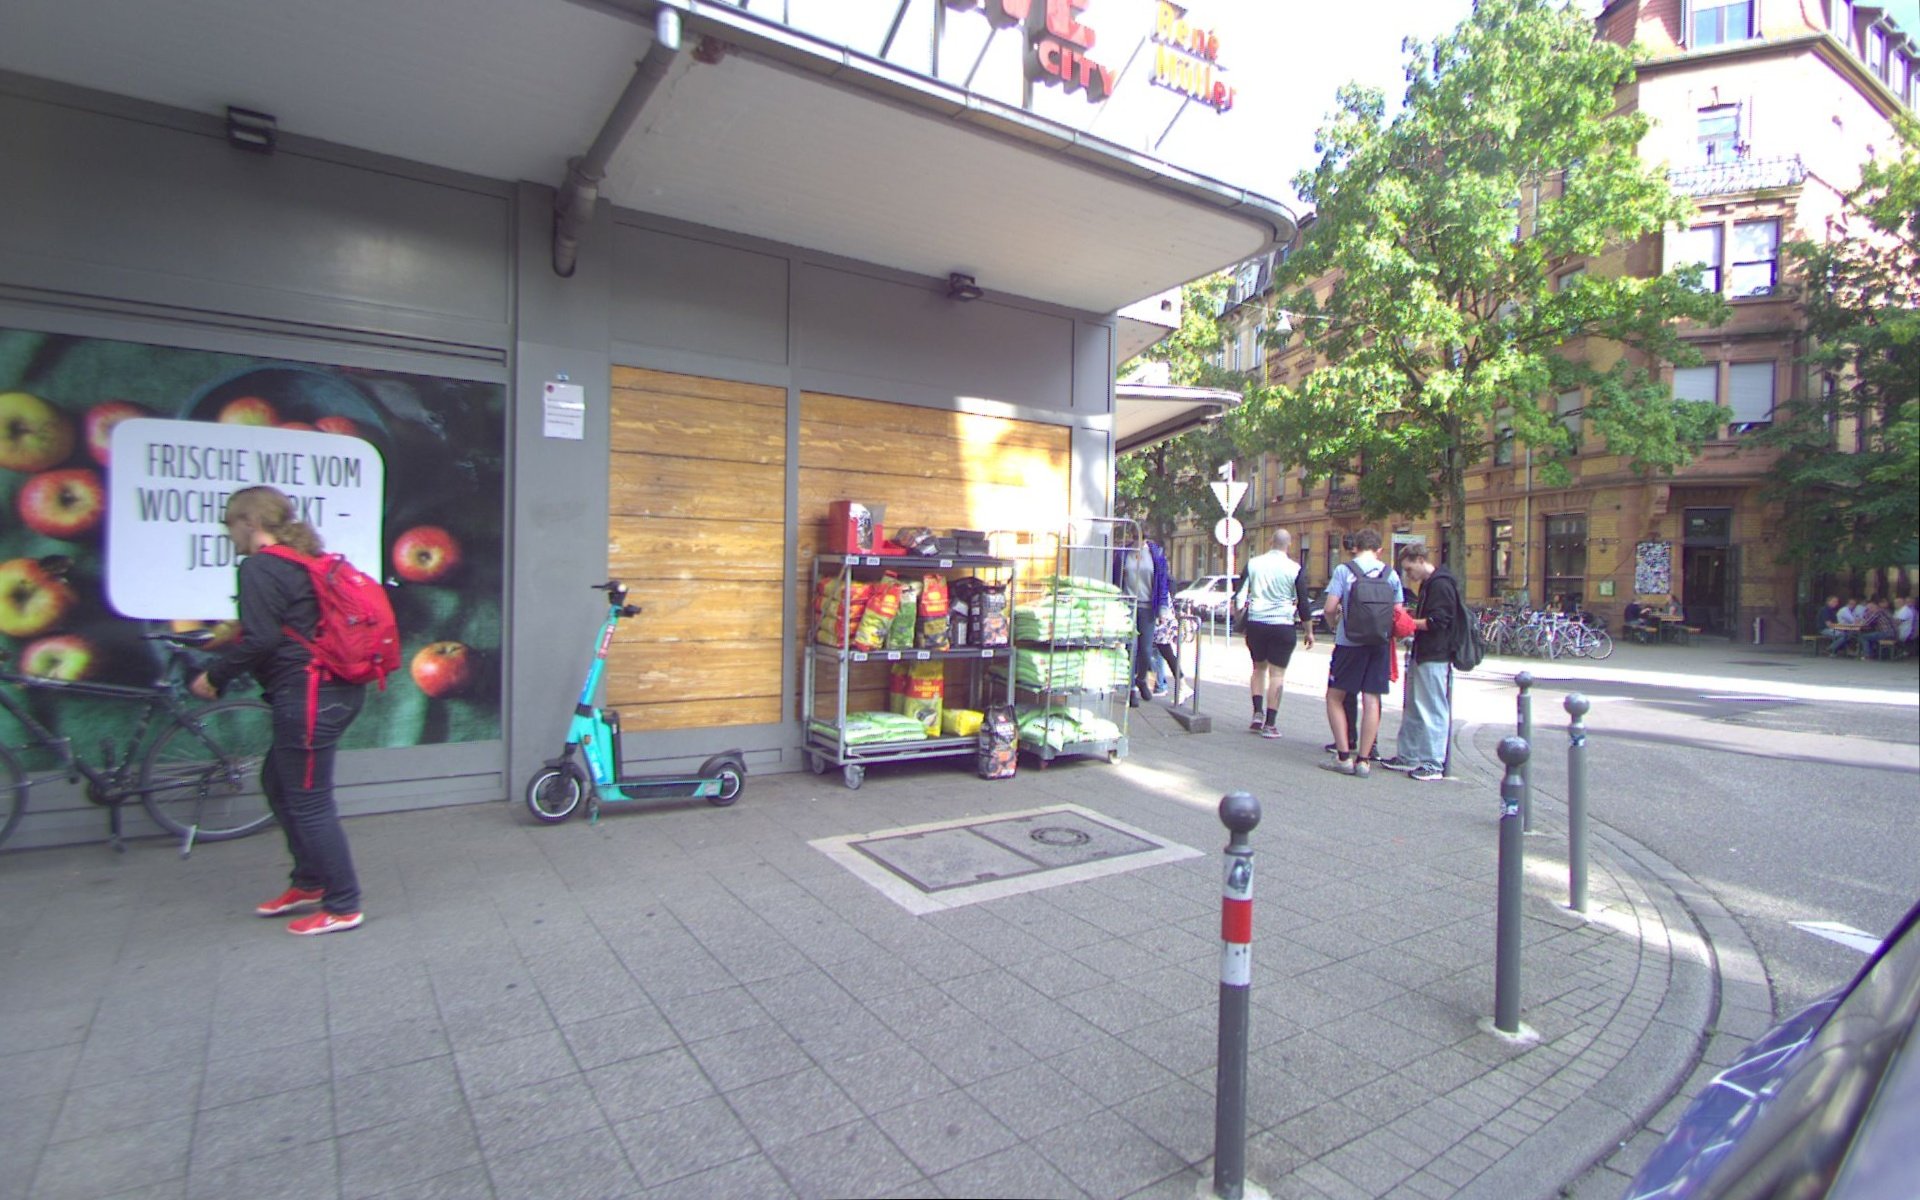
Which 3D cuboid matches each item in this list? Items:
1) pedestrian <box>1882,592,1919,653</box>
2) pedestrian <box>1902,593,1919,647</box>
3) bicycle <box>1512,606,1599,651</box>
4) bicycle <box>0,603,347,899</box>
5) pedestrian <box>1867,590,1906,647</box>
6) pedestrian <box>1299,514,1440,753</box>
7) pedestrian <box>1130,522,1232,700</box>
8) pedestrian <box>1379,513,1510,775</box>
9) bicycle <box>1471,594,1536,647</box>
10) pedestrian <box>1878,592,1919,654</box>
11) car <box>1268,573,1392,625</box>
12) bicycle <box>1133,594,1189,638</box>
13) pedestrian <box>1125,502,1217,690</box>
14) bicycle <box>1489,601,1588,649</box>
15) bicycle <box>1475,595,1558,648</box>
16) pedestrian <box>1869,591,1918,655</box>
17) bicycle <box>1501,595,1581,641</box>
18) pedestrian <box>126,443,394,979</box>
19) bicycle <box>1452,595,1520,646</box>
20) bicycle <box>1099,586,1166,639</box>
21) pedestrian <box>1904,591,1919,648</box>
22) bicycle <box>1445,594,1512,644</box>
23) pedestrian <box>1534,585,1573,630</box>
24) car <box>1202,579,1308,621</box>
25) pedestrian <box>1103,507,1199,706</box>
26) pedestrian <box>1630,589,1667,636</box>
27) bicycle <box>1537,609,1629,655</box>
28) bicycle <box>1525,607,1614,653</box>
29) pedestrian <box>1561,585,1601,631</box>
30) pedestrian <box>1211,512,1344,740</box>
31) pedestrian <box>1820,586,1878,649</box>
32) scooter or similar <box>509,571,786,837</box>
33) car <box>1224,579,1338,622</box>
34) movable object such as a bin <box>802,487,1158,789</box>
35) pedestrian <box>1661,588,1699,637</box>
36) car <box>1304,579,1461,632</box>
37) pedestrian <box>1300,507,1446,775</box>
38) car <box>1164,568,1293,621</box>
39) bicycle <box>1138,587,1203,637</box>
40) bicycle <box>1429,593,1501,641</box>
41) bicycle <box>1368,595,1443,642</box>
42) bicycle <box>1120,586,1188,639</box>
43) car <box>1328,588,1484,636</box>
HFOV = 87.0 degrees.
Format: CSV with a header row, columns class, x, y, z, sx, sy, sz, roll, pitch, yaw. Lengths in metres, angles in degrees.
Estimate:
class,x,y,z,sx,sy,sz,roll,pitch,yaw
pedestrian,21.326,0.503,22.839,0.727,1.331,0.598,2,1,45
pedestrian,22.604,0.472,23.777,0.544,1.247,0.615,2,2,32
bicycle,13.645,0.655,23.212,1.682,0.999,0.448,0,2,5
bicycle,-3.662,0.576,4.280,0.674,1.056,1.711,2,2,37
pedestrian,22.103,0.437,24.146,0.544,1.317,0.615,2,2,32
pedestrian,3.254,0.248,8.077,0.645,1.819,0.657,2,3,-21
pedestrian,2.310,0.104,10.627,0.602,1.775,0.843,1,1,-32
pedestrian,3.592,0.295,7.564,0.706,1.819,0.628,4,3,21
bicycle,13.423,0.496,24.984,1.677,1.216,0.449,-1,2,-22
pedestrian,20.860,0.498,22.410,0.727,1.331,0.512,2,1,45
car,12.961,-0.031,35.594,3.632,1.743,1.863,0,0,-7
bicycle,4.976,0.386,25.131,0.483,1.014,1.424,2,1,-33
pedestrian,2.445,-0.063,11.659,0.852,2.038,1.028,3,1,18
bicycle,13.514,0.578,23.672,2.009,1.102,0.448,0,2,5
bicycle,13.334,0.511,24.266,1.682,1.216,0.448,0,2,5
pedestrian,20.416,0.491,22.136,0.727,1.331,0.512,2,1,45
bicycle,15.255,0.464,26.593,1.764,1.127,0.601,-1,2,-4
pedestrian,-2.475,0.327,3.606,0.699,1.652,0.725,1,3,-36
bicycle,13.275,0.496,25.524,1.676,1.216,0.449,-1,2,-17
bicycle,4.116,0.287,24.325,0.405,1.190,1.854,2,1,-33
pedestrian,23.254,0.476,24.492,0.463,1.343,0.615,2,2,32
bicycle,13.337,0.475,26.015,1.676,1.216,0.449,-1,2,-17
pedestrian,17.573,0.223,29.992,0.753,1.301,0.630,-1,1,-10
car,11.742,-0.019,40.393,3.633,1.475,1.673,-2,2,-7
pedestrian,1.778,0.047,9.548,0.752,1.775,0.929,1,1,4
pedestrian,18.570,0.336,27.289,0.629,1.239,0.512,-1,2,-1
bicycle,13.726,0.696,22.318,1.682,0.981,0.448,0,2,5
bicycle,13.699,0.667,22.773,1.682,0.999,0.448,0,2,5
pedestrian,17.850,0.224,29.099,0.753,1.301,0.630,-1,1,-10
pedestrian,2.763,0.187,8.934,0.872,1.857,1.045,2,3,8
pedestrian,20.268,0.388,23.076,0.657,1.396,0.717,0,1,1
scooter or similar,-1.643,0.486,5.358,1.232,1.227,0.634,1,3,-36
car,11.956,0.015,37.827,3.633,1.476,1.672,-1,0,-7
movable object such as a bin,0.188,0.213,6.897,2.376,1.766,0.782,0,1,-33
pedestrian,19.346,0.321,27.217,0.629,1.274,0.512,-1,2,-1
car,13.741,0.165,33.089,4.228,1.589,2.008,-1,0,-2
pedestrian,2.970,0.267,7.346,0.620,1.819,0.715,3,2,-1
car,11.396,-0.259,43.067,4.810,2.014,2.051,-2,2,-11
bicycle,5.325,0.297,25.749,0.405,1.190,1.854,2,1,-33
bicycle,13.242,0.449,26.555,1.678,1.216,0.449,-1,2,-4
bicycle,11.907,0.456,27.146,0.570,1.109,2.504,-3,2,-8
bicycle,4.633,0.291,24.268,0.405,1.190,1.854,2,1,-33
car,13.222,0.340,30.100,4.027,1.286,1.570,-1,0,-10
